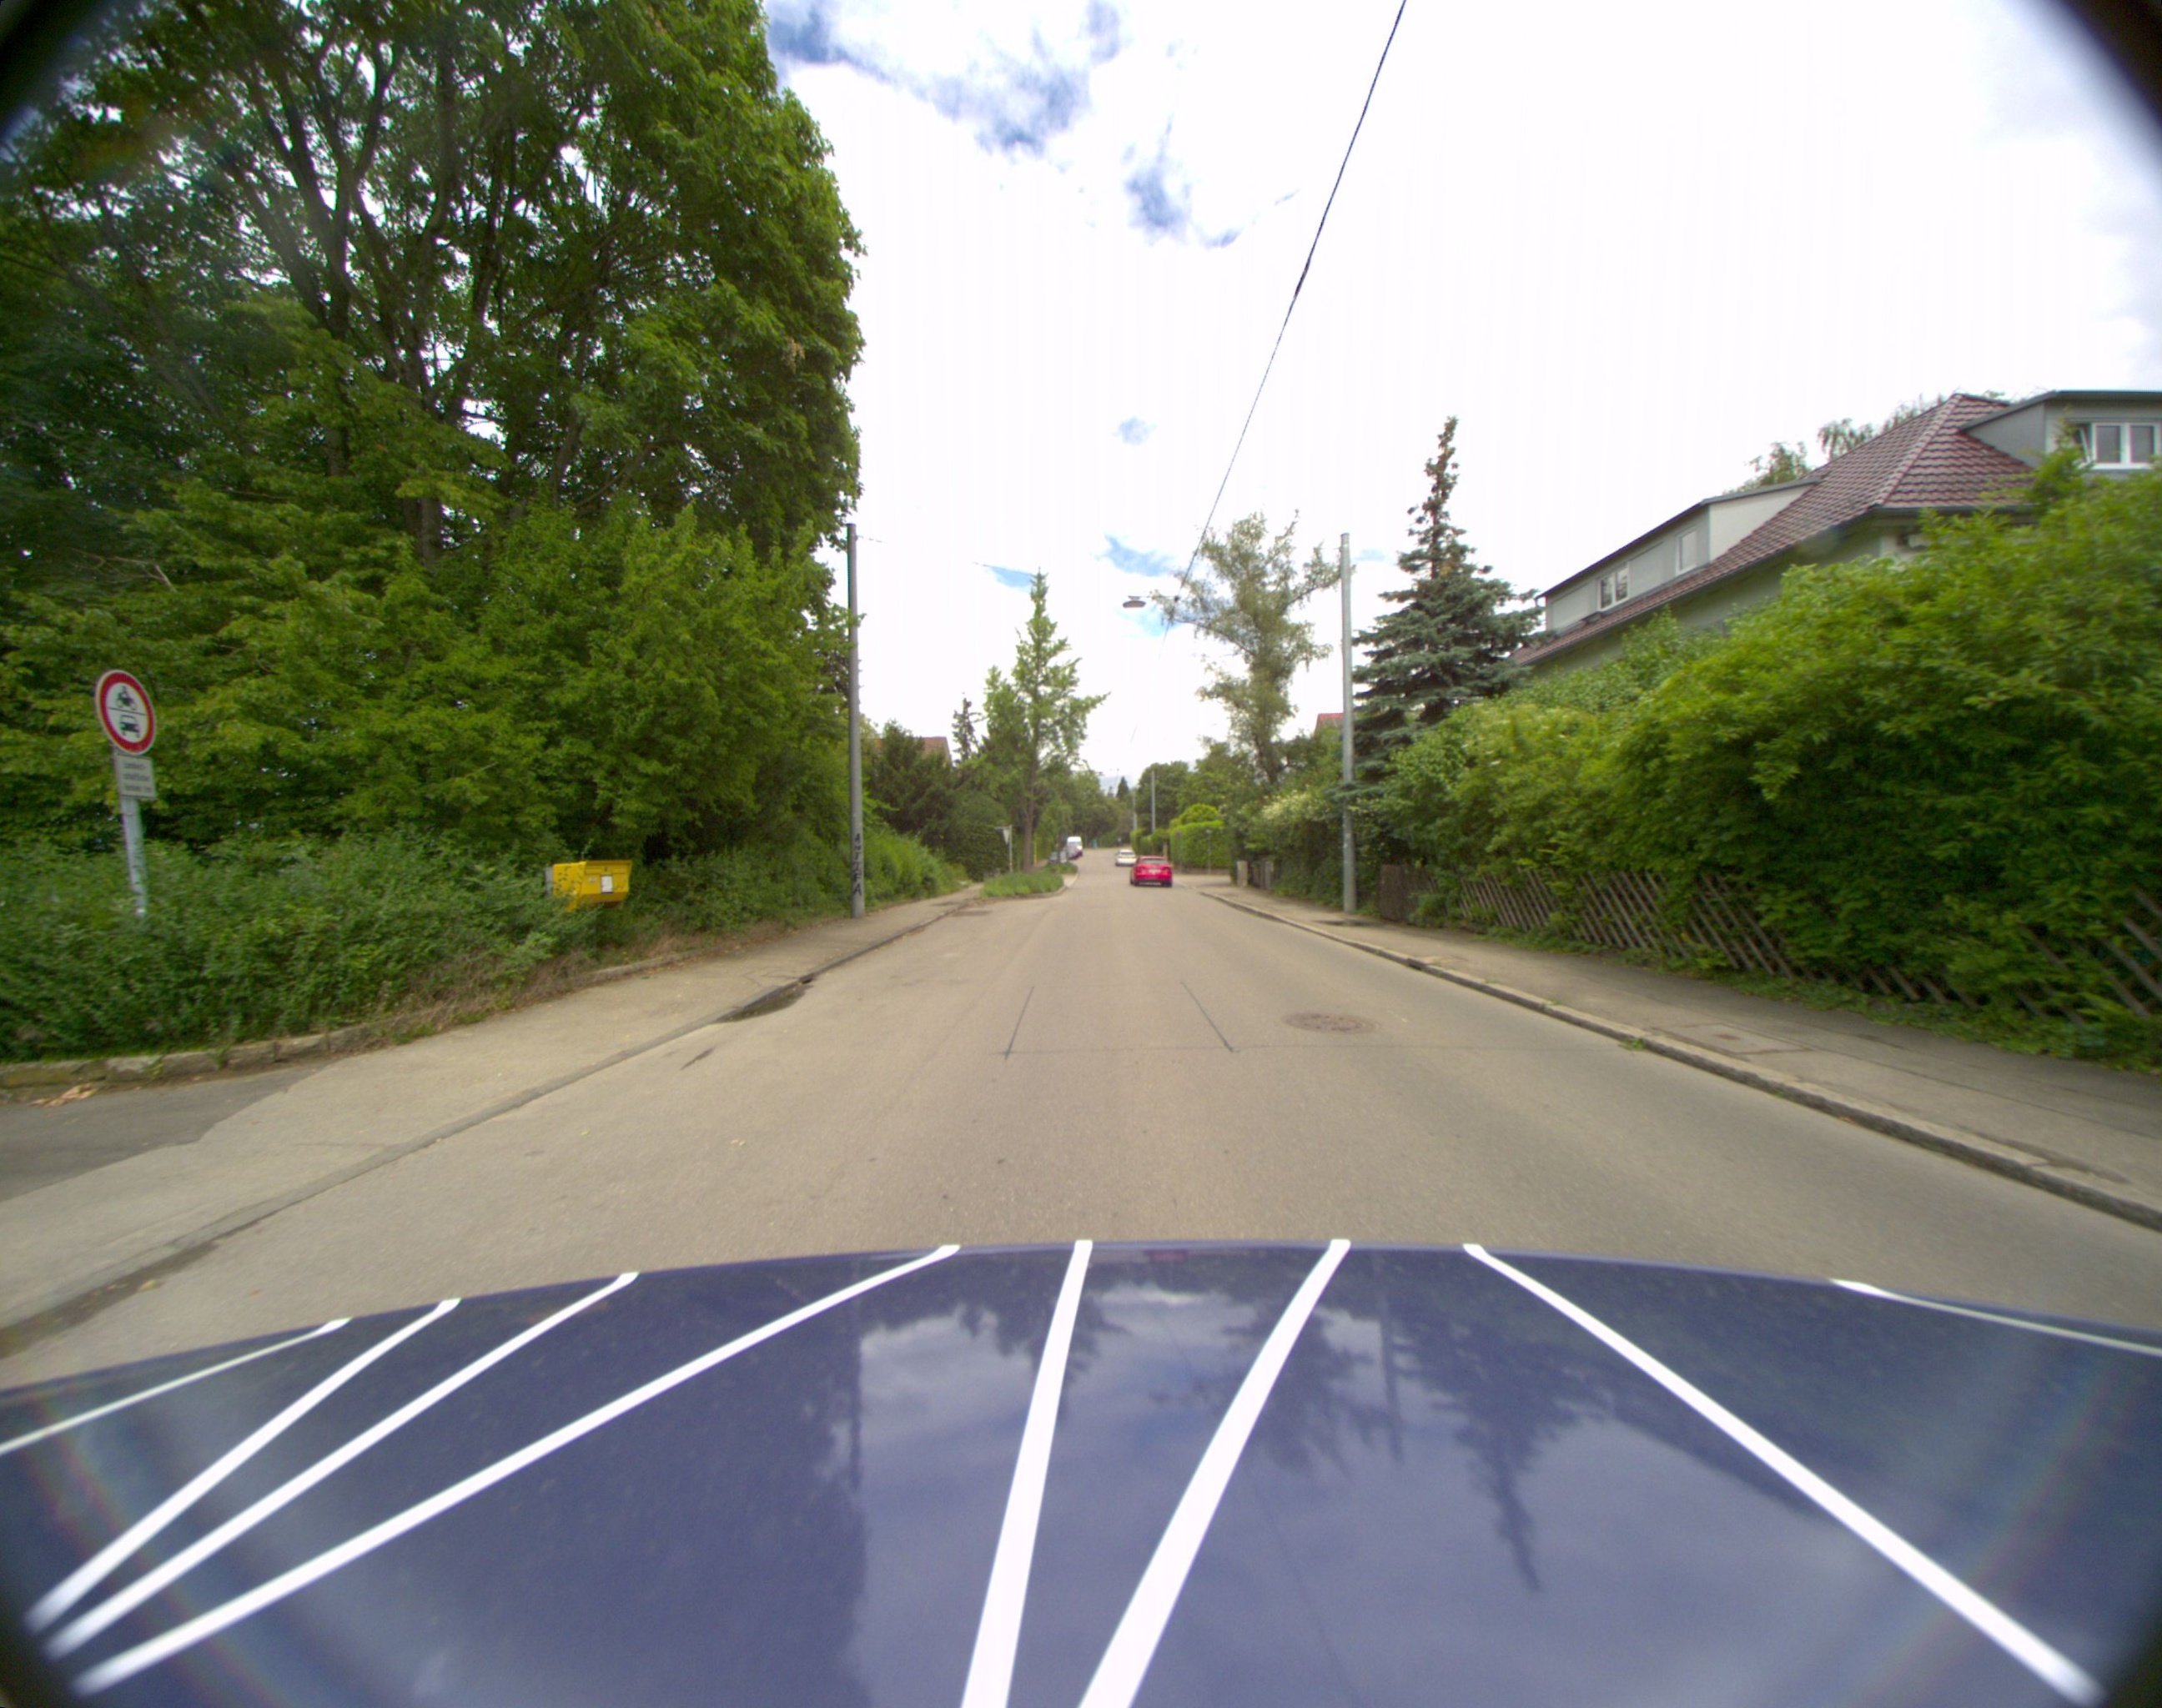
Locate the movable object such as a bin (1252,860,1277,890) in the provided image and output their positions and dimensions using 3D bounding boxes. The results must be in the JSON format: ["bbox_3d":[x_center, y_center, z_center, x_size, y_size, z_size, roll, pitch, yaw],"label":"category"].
[{"bbox_3d":[7.411,0.834,30.696,0.729,1.119,0.722,-4,1,-2],"label":"movable object such as a bin"}]

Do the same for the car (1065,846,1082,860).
[{"bbox_3d":[-0.905,-0.180,95.207,1.893,1.572,4.764,1,2,2],"label":"car"}]

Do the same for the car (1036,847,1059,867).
[{"bbox_3d":[-2.665,0.200,61.258,1.627,1.464,3.739,-1,1,1],"label":"car"}]

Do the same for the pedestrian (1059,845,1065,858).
[{"bbox_3d":[-2.430,-0.336,96.858,0.671,1.689,0.918,1,2,3],"label":"pedestrian"}]

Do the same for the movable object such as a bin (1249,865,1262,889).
[{"bbox_3d":[7.195,0.948,31.334,0.379,0.945,0.512,-4,1,-2],"label":"movable object such as a bin"}]

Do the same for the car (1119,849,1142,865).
[{"bbox_3d":[4.367,0.265,67.981,1.810,1.423,4.300,0,0,0],"label":"car"}]

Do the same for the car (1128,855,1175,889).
[{"bbox_3d":[3.304,0.825,36.132,1.810,1.423,4.118,2,1,0],"label":"car"}]

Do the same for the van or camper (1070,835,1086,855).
[{"bbox_3d":[-0.443,-1.250,102.516,2.046,2.605,7.036,-2,2,-1],"label":"van or camper"}]

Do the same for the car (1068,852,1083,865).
[{"bbox_3d":[-0.599,0.468,88.550,1.683,1.399,4.053,-2,0,0],"label":"car"}]
